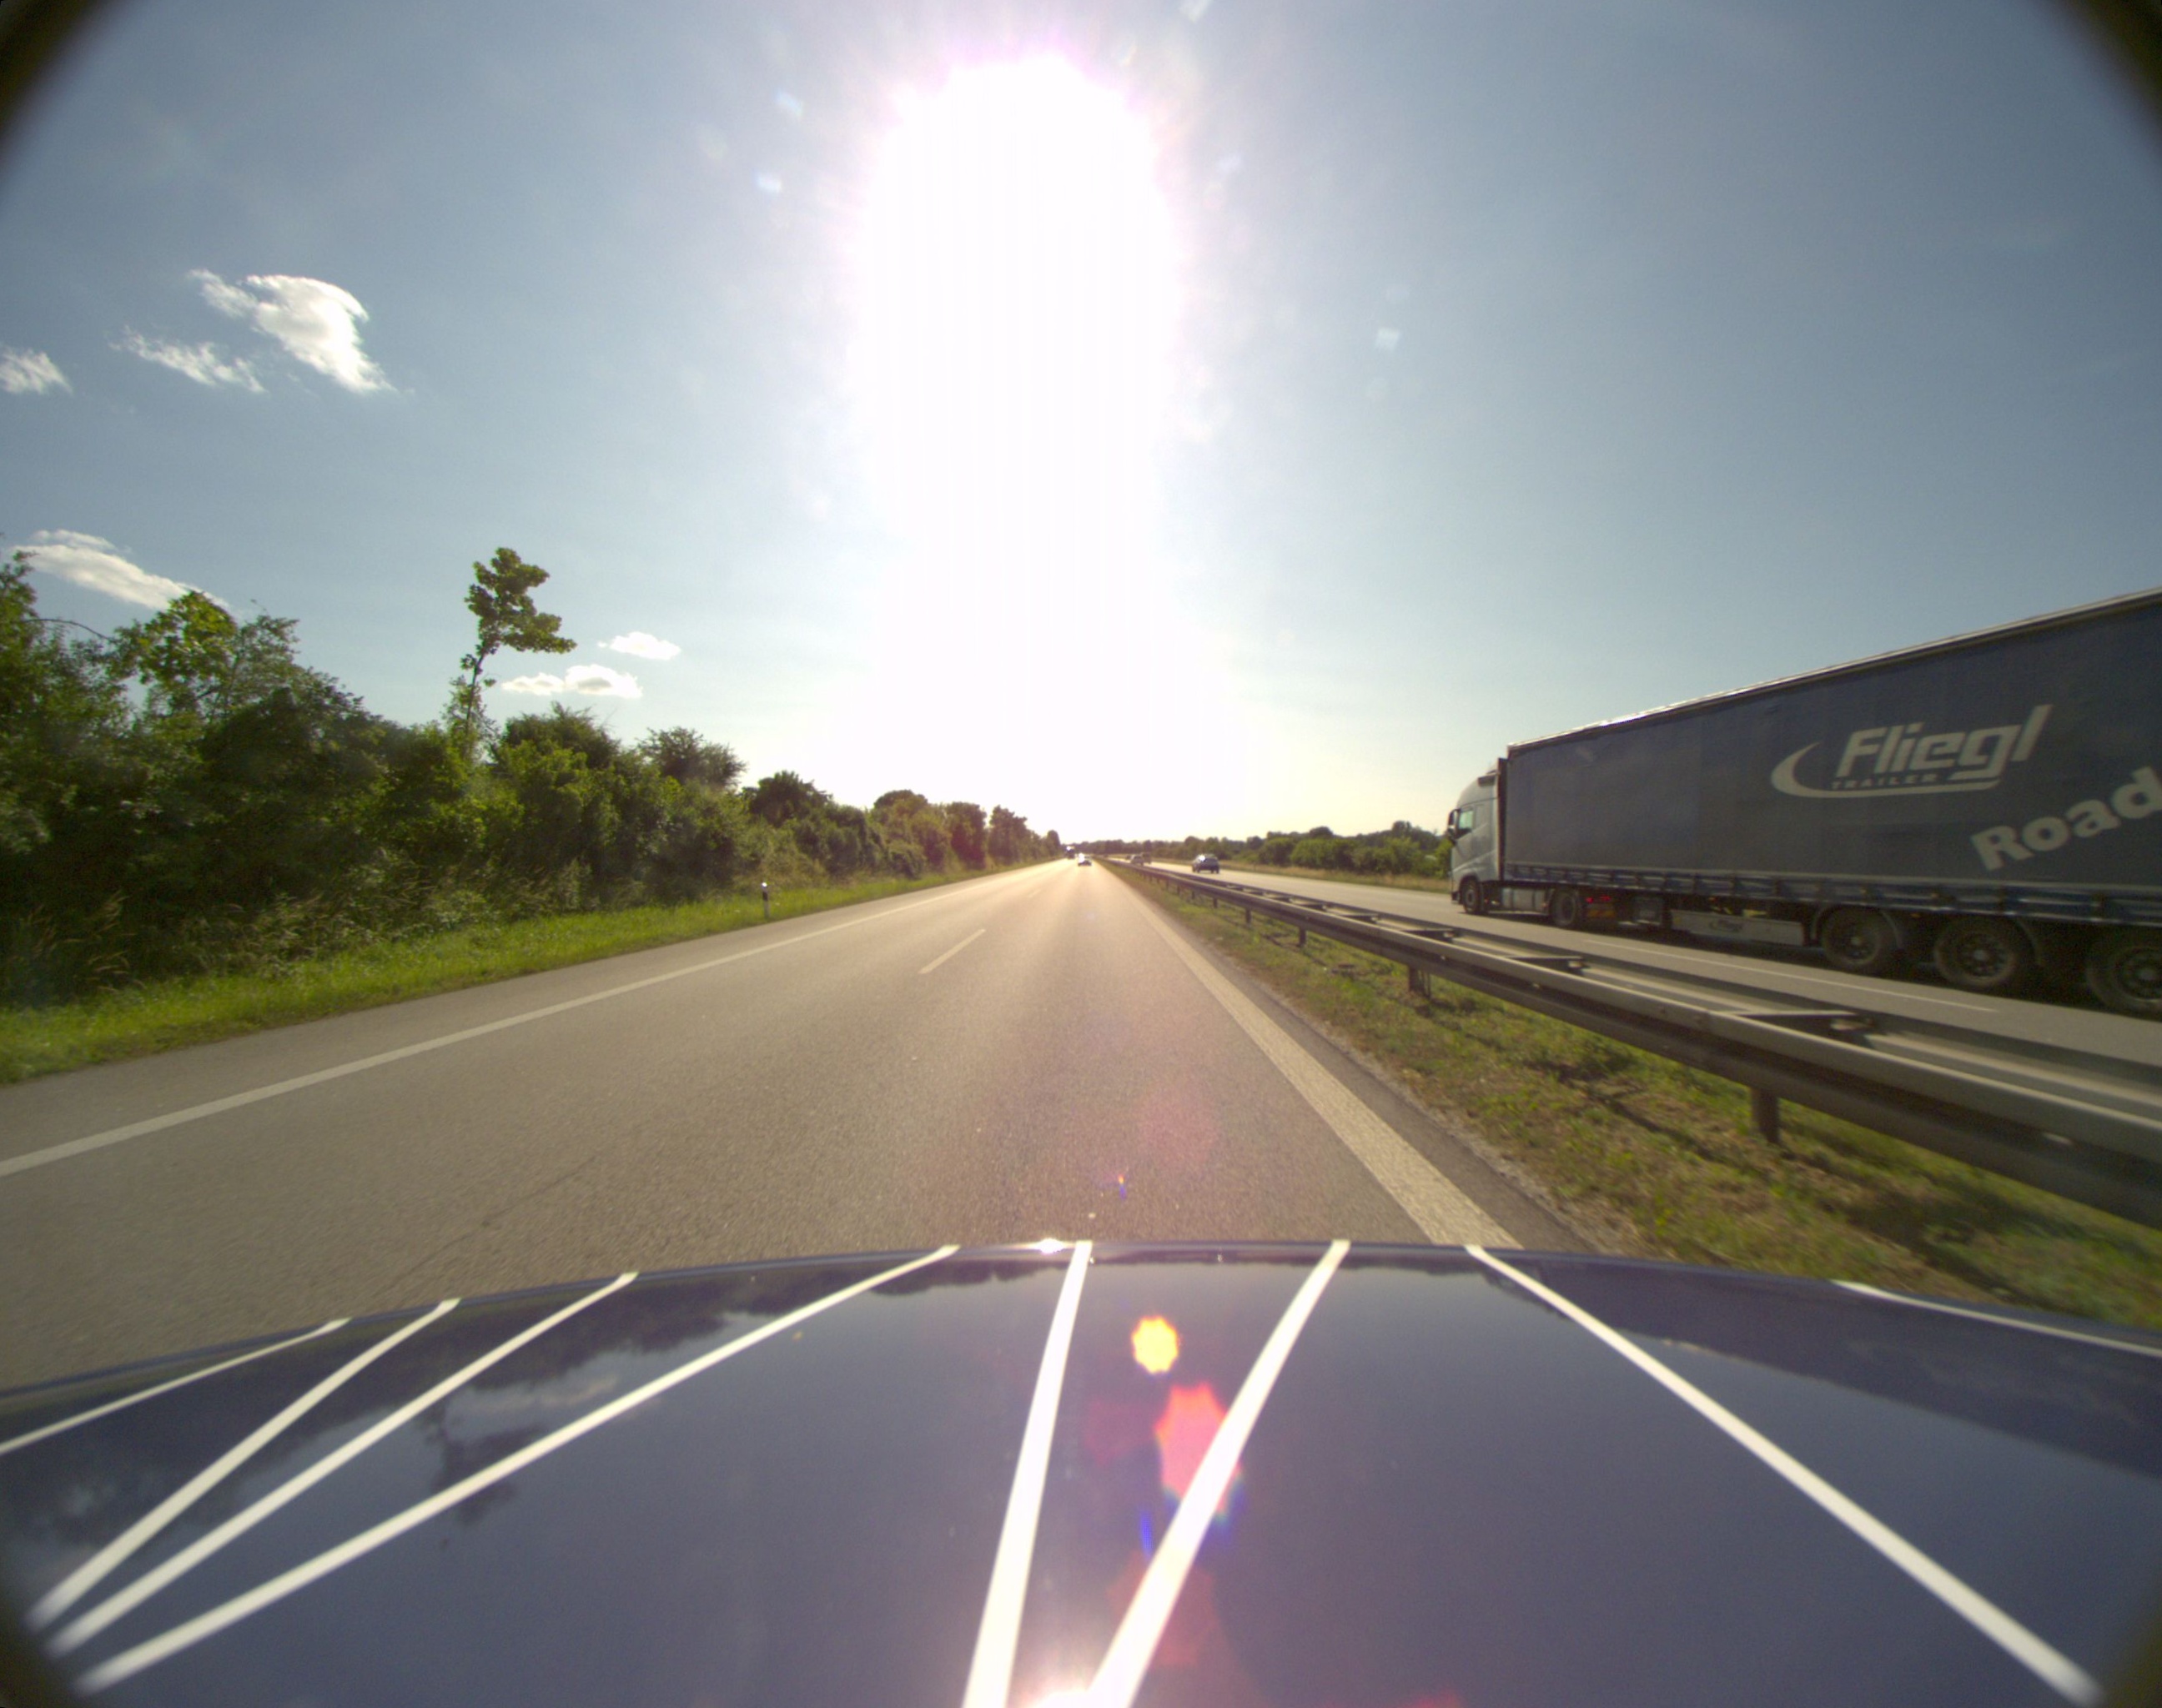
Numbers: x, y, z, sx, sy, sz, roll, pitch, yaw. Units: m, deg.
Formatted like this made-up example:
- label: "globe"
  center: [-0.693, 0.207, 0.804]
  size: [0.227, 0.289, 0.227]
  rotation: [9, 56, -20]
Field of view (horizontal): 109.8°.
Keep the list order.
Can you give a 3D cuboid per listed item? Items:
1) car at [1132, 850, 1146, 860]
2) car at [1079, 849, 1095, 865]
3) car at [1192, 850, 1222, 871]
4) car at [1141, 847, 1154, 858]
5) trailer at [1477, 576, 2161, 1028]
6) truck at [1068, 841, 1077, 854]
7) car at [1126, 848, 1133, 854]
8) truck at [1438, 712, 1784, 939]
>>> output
- label: "car"
  center: [8.453, 0.124, 110.362]
  size: [1.771, 1.412, 4.470]
  rotation: [2, 1, 2]
- label: "car"
  center: [0.835, 0.388, 100.361]
  size: [1.998, 2.002, 4.358]
  rotation: [-3, 1, 0]
- label: "car"
  center: [10.484, 0.483, 63.545]
  size: [1.730, 1.573, 4.767]
  rotation: [2, 1, 1]
- label: "car"
  center: [10.832, -0.233, 124.263]
  size: [1.954, 1.761, 4.748]
  rotation: [2, 1, 2]
- label: "trailer"
  center: [11.186, -0.478, 10.827]
  size: [3.193, 4.036, 14.594]
  rotation: [1, 1, -1]
- label: "truck"
  center: [-2.805, -2.165, 246.283]
  size: [2.759, 4.242, 8.492]
  rotation: [-3, 1, 0]
- label: "car"
  center: [12.469, -0.733, 194.851]
  size: [1.734, 1.502, 4.479]
  rotation: [1, 1, 2]
- label: "truck"
  center: [11.151, -0.544, 17.028]
  size: [3.177, 4.090, 6.387]
  rotation: [1, 1, 0]
